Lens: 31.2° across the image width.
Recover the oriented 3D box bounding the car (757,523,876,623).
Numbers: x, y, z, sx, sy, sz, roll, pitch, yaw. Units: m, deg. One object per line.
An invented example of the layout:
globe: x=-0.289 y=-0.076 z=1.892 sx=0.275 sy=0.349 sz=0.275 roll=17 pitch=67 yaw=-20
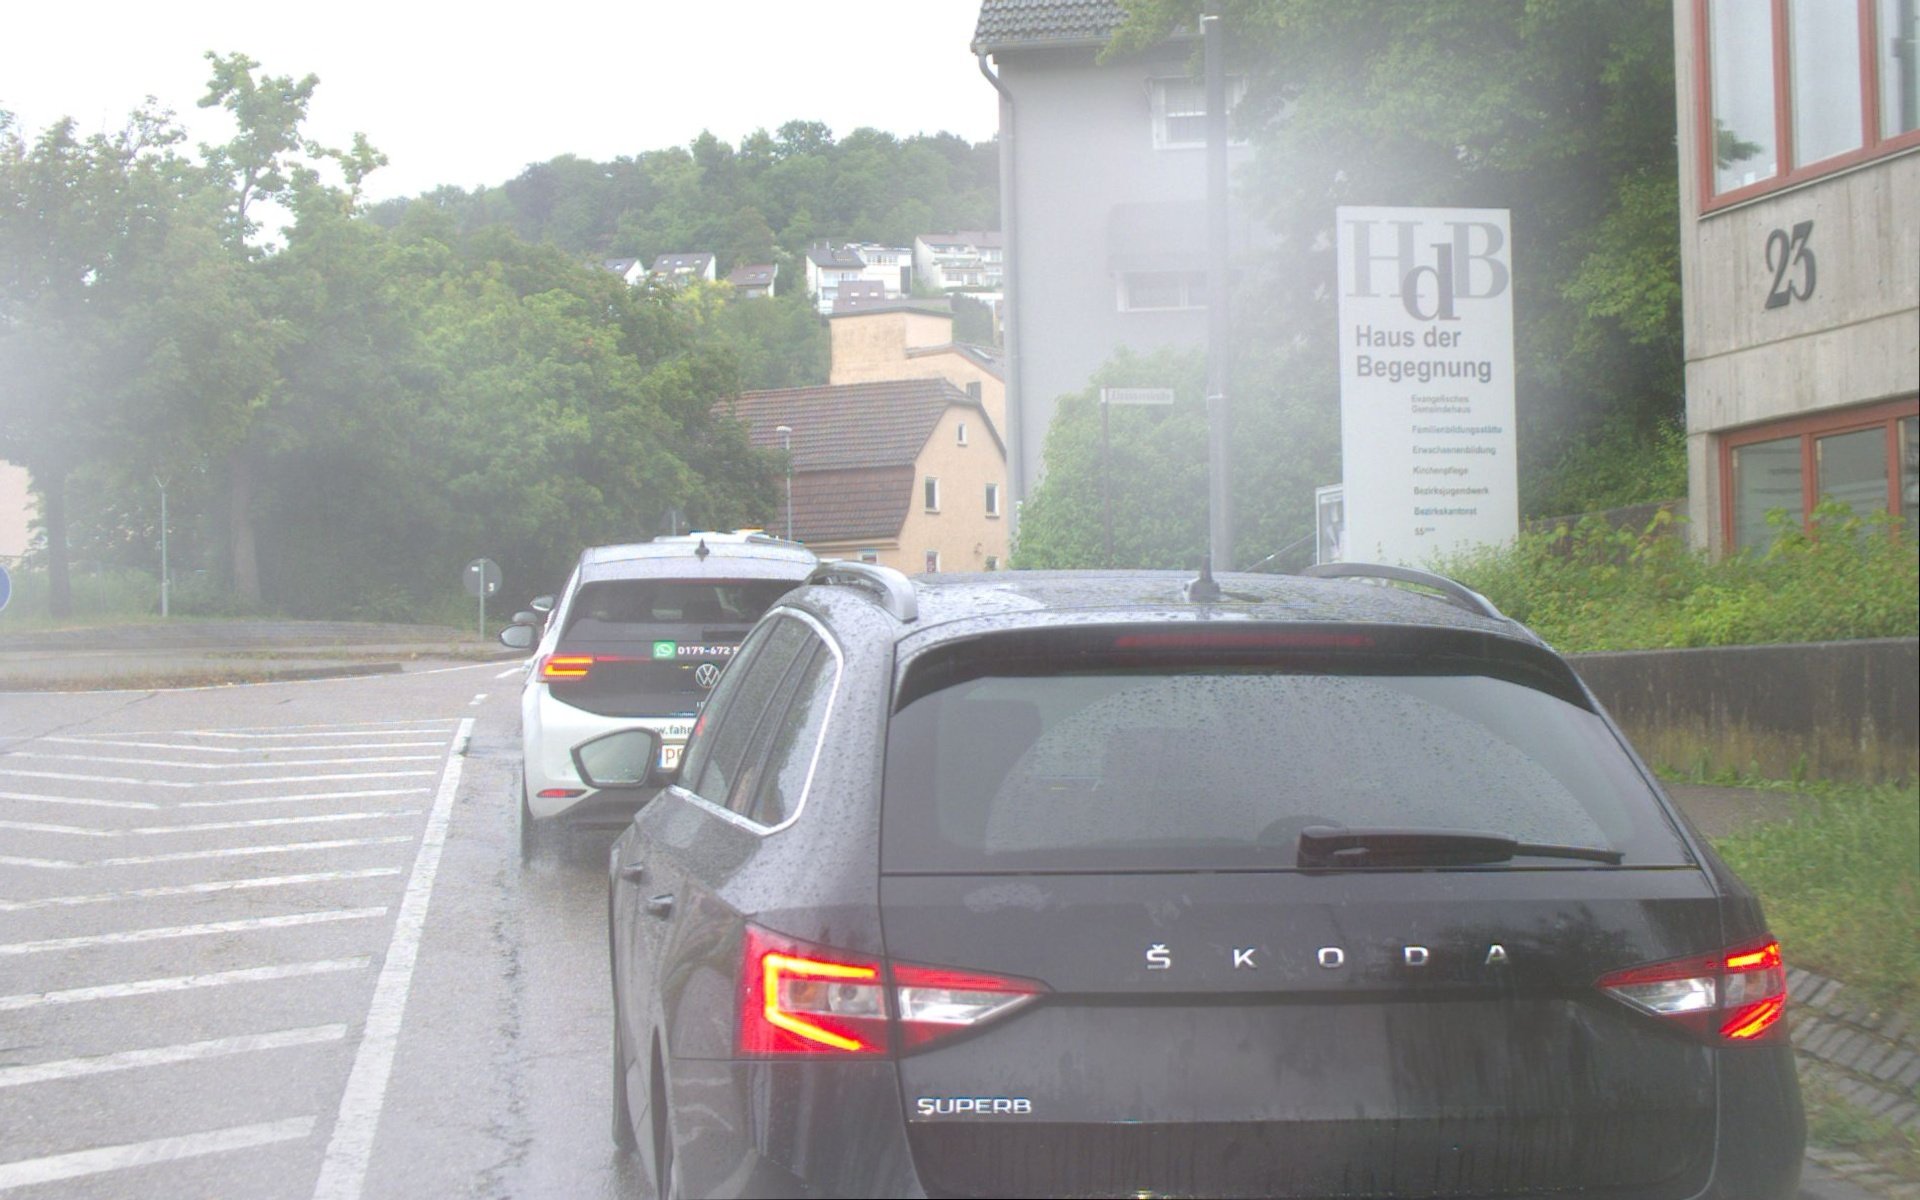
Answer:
car: x=-2.234 y=-0.440 z=54.395 sx=1.567 sy=1.525 sz=4.000 roll=0 pitch=1 yaw=2

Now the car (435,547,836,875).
car: x=-1.595 y=0.513 z=17.831 sx=1.828 sy=1.495 sz=4.169 roll=0 pitch=0 yaw=-3

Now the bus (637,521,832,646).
bus: x=-4.973 y=-0.416 z=77.197 sx=2.398 sy=2.667 sz=7.043 roll=0 pitch=1 yaw=13

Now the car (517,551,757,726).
car: x=-2.880 y=0.316 z=29.890 sx=1.847 sy=1.405 sz=4.302 roll=0 pitch=0 yaw=-8

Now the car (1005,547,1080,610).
car: x=2.707 y=-0.680 z=113.942 sx=1.993 sy=2.007 sz=4.001 roll=1 pitch=0 yaw=-6

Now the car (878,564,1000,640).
car: x=-0.408 y=0.036 z=70.998 sx=1.994 sy=1.448 sz=3.770 roll=-3 pitch=0 yaw=7

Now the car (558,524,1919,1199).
car: x=0.228 y=0.686 z=6.871 sx=1.953 sy=1.502 sz=4.609 roll=2 pitch=0 yaw=-7
